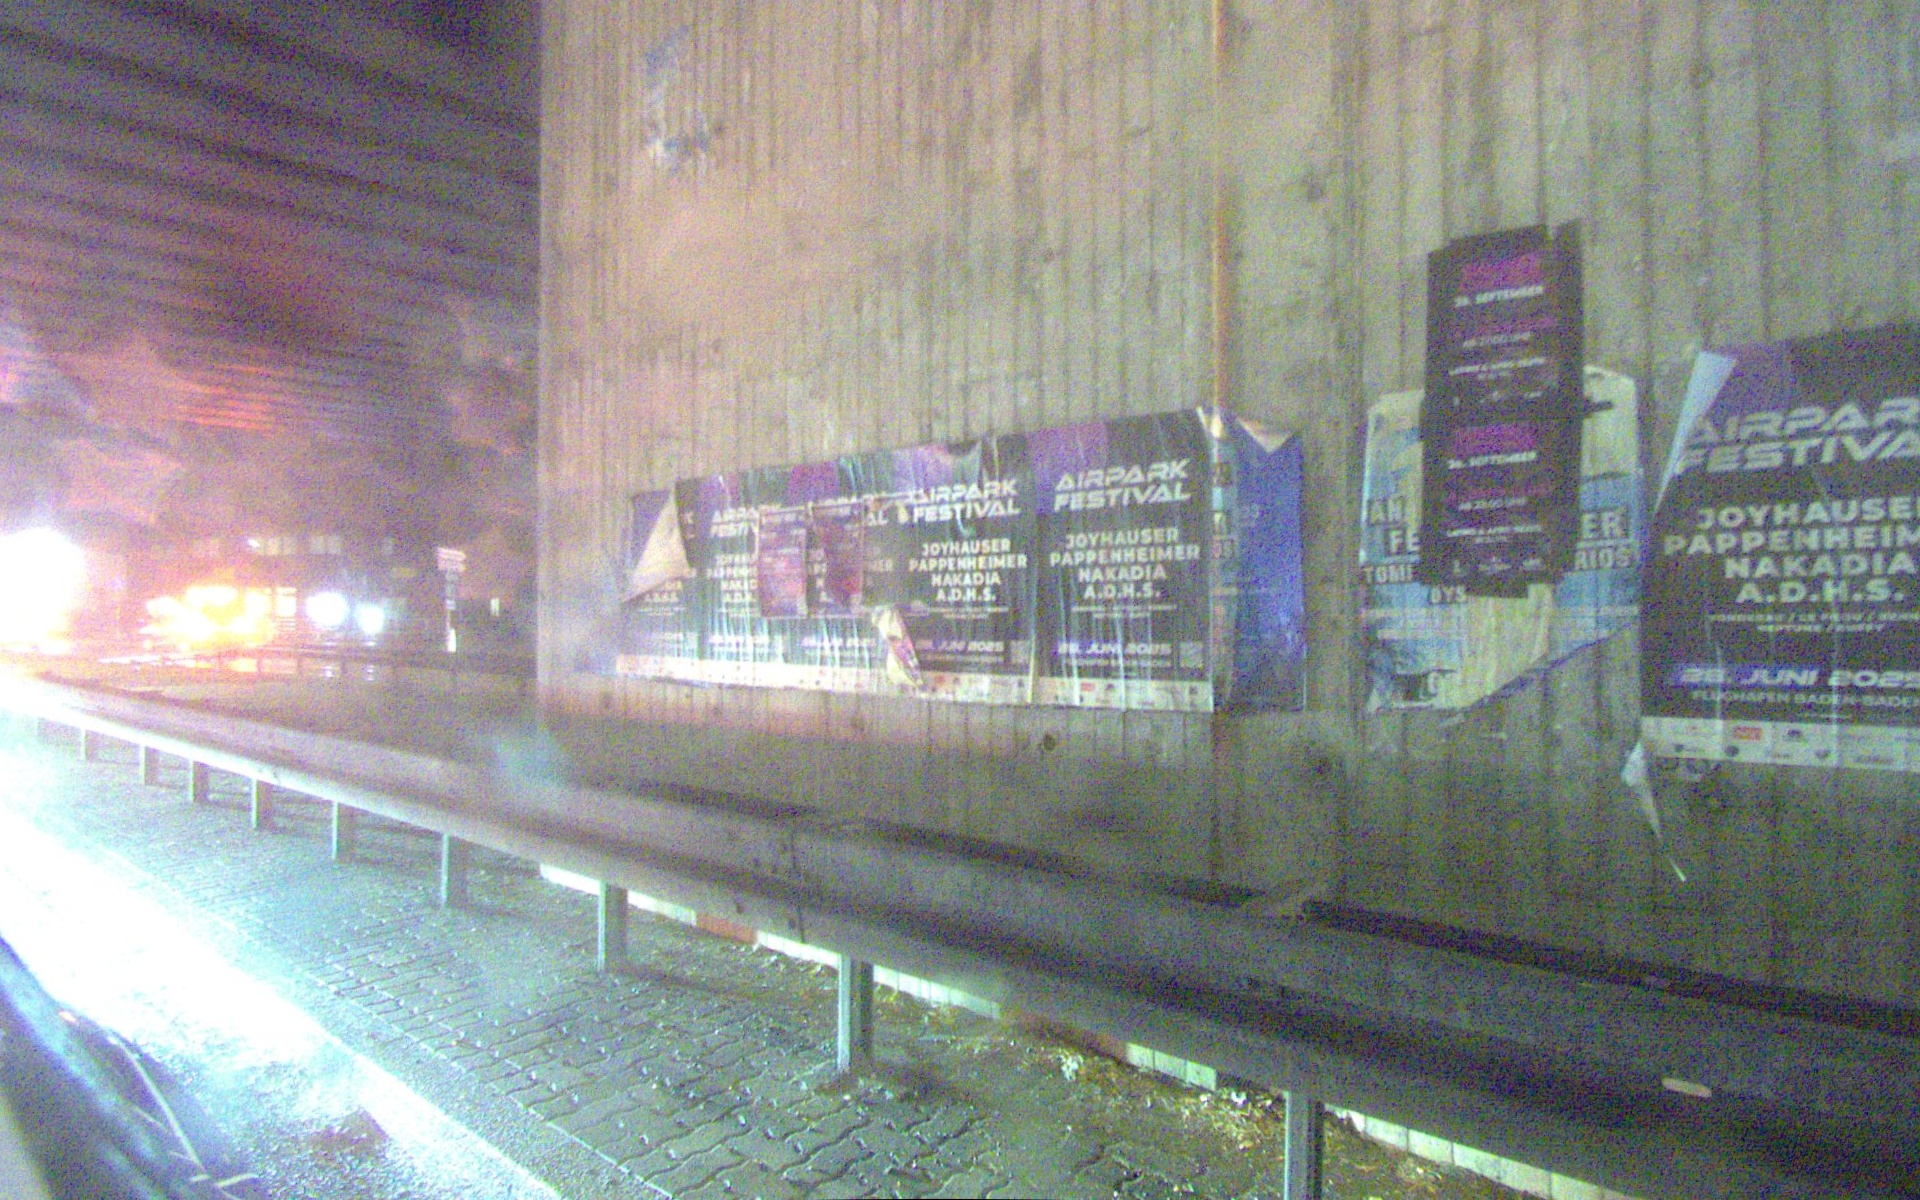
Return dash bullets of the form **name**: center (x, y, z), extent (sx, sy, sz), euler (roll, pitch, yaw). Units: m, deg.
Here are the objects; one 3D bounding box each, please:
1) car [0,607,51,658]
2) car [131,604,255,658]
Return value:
- **car**: center (-34.842, 1.147, 36.612), extent (4.386, 1.754, 1.888), euler (-1, 0, 34)
- **car**: center (-26.919, 1.051, 35.489), extent (4.487, 1.763, 1.841), euler (-1, 0, 30)
